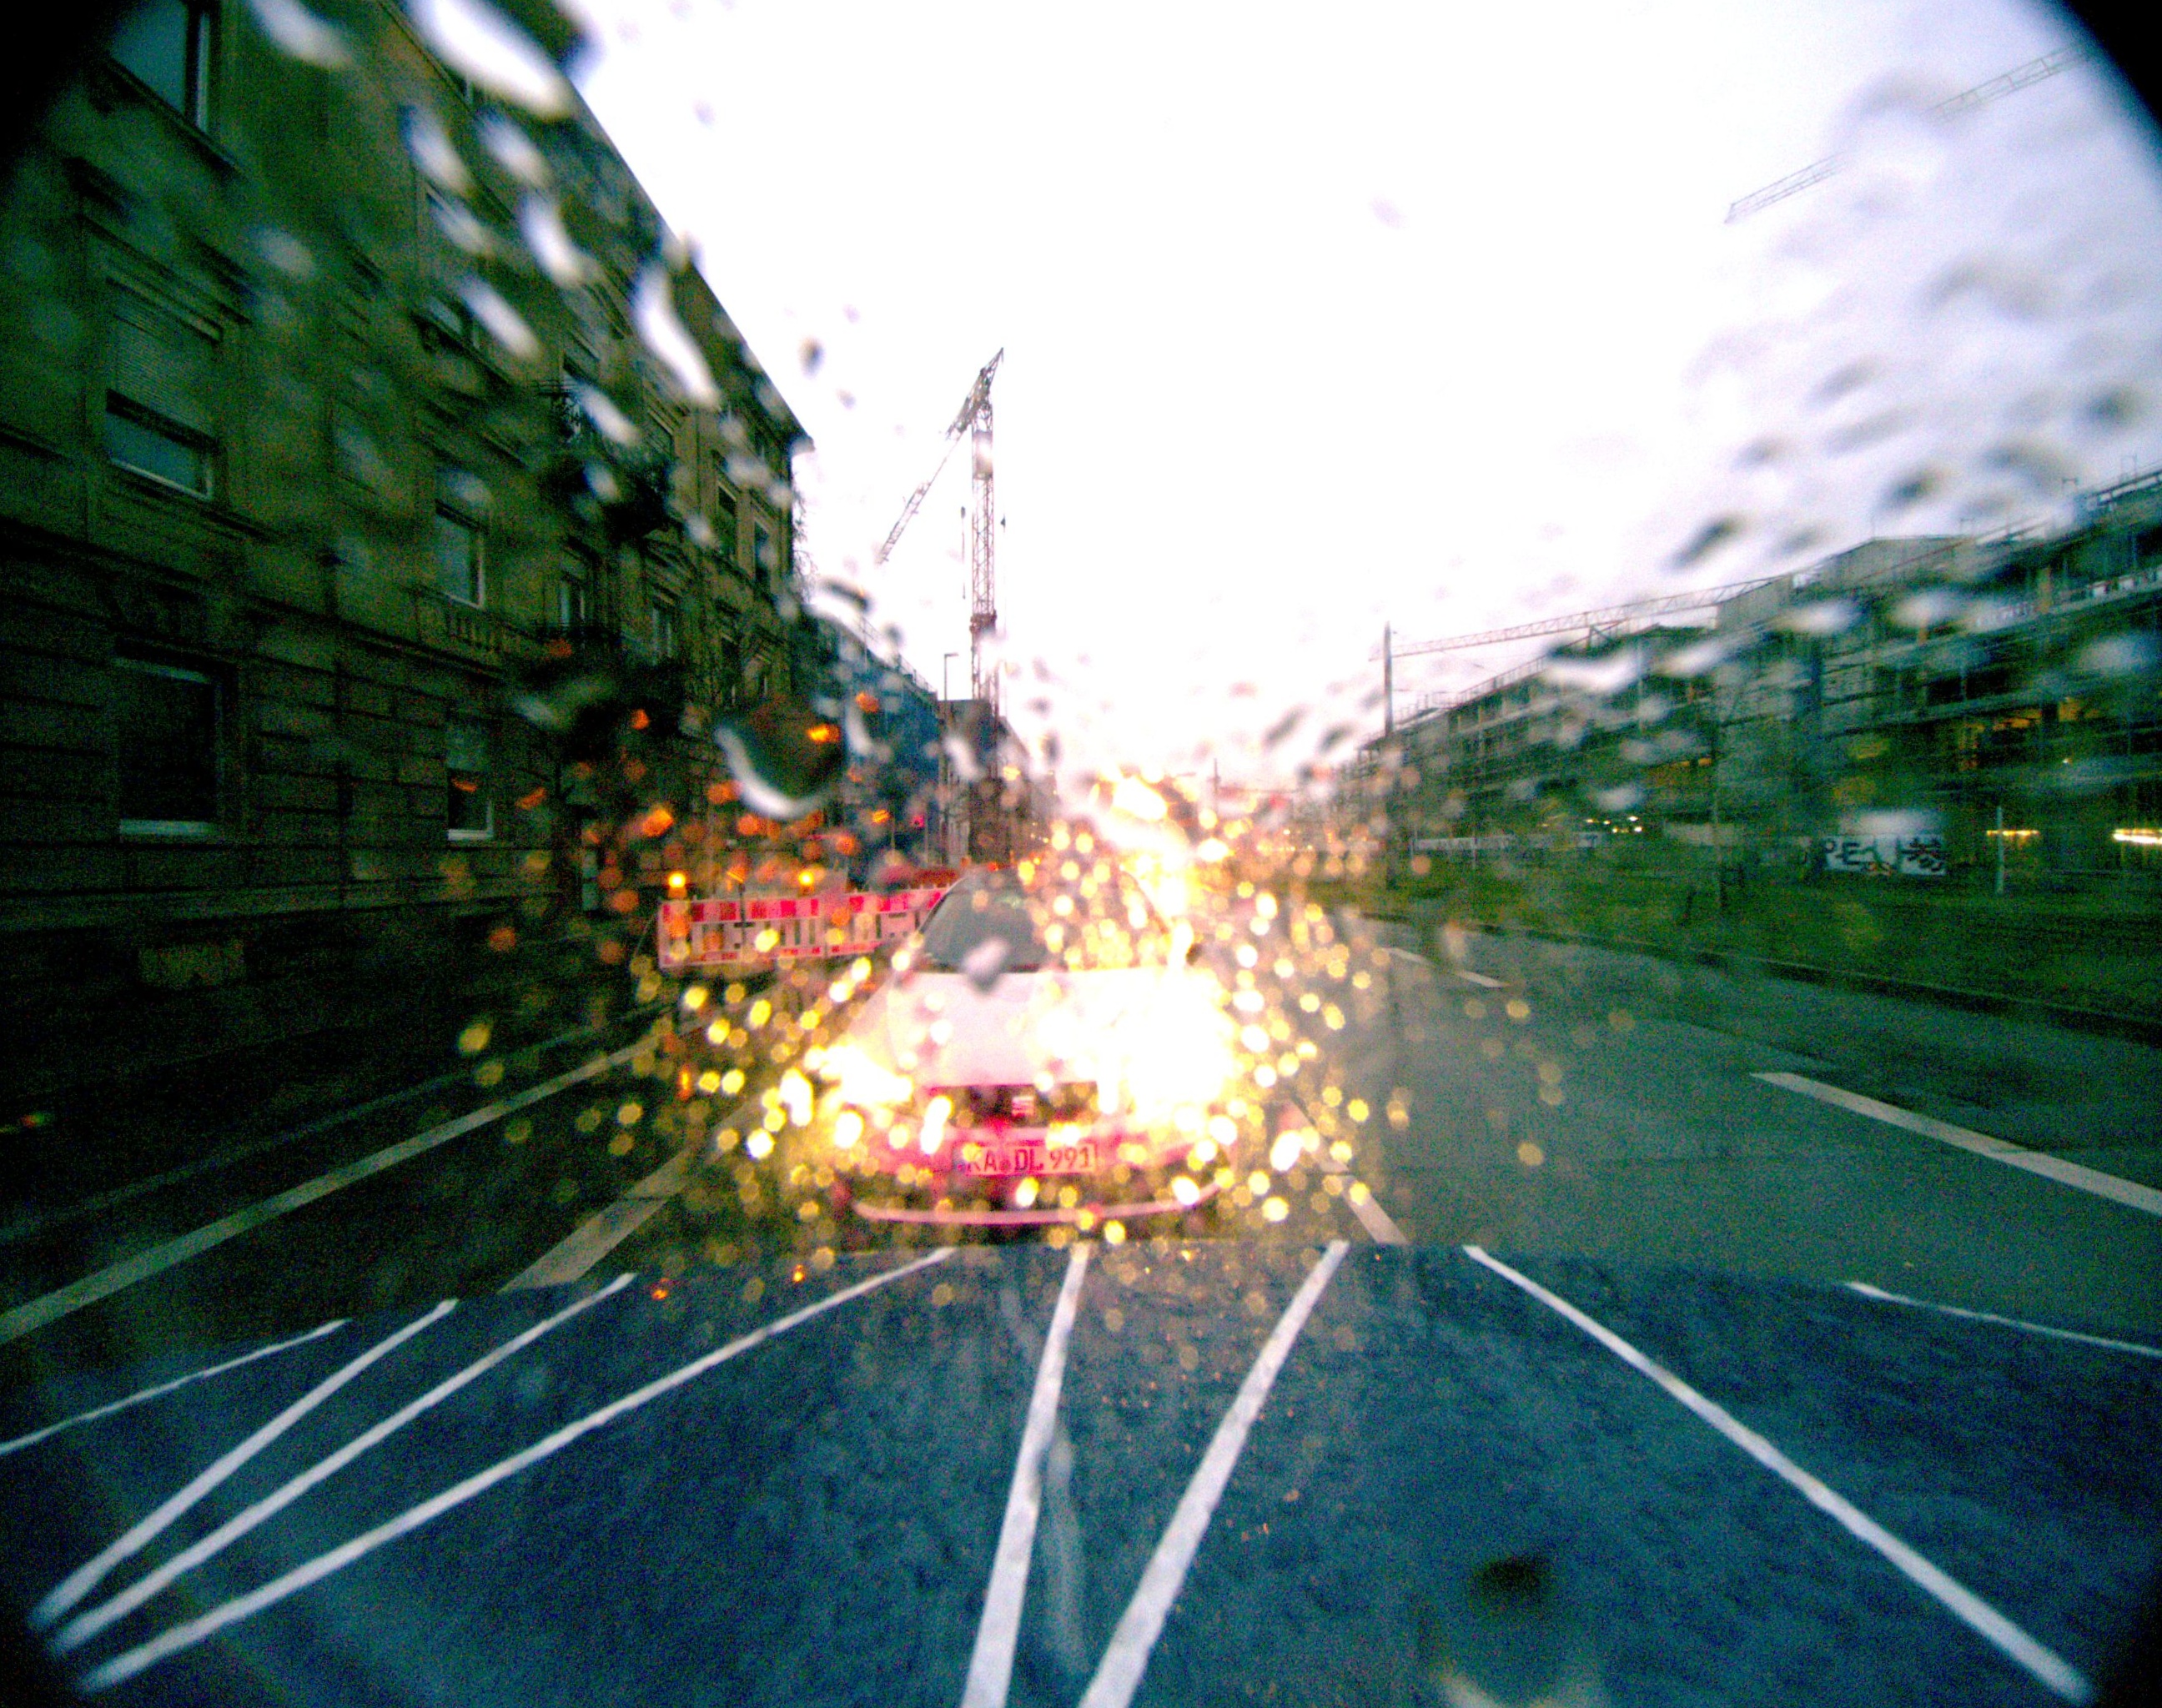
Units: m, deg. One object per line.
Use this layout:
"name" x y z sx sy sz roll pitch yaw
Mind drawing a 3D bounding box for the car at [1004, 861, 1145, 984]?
"car" -0.126 0.897 11.760 1.764 1.443 3.999 -2 1 -1

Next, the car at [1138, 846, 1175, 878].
"car" 4.349 0.408 44.021 1.857 1.723 4.000 -2 1 2

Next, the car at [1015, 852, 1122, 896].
"car" -0.542 0.814 32.004 4.321 1.644 1.845 -2 1 -2

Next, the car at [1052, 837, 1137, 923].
"car" 0.266 0.576 19.259 1.858 1.886 3.999 -2 1 -1

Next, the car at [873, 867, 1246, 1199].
"car" -0.139 0.905 5.703 1.764 1.443 3.999 -2 1 -1

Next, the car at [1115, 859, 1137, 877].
"car" 4.318 1.316 73.535 1.844 1.547 4.000 -2 1 1
